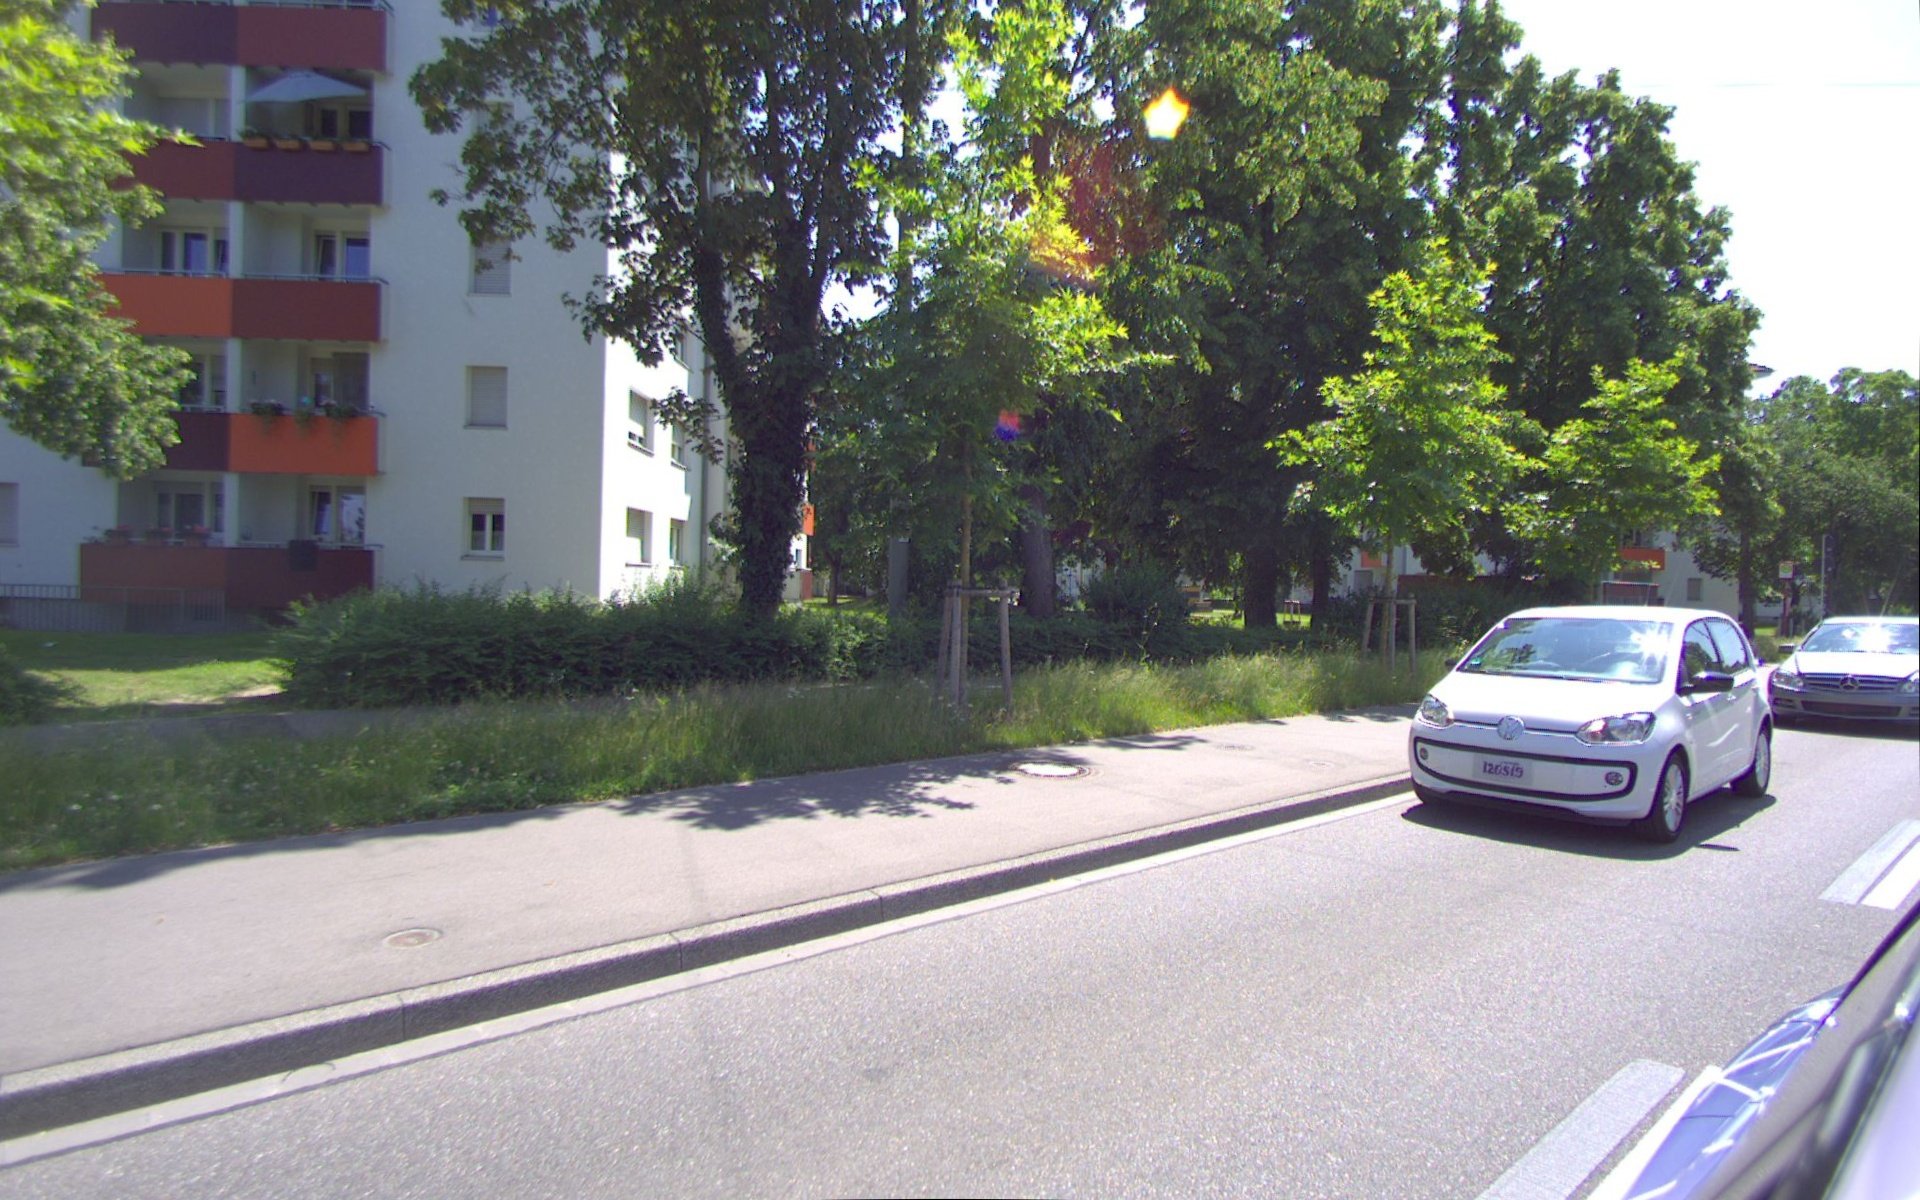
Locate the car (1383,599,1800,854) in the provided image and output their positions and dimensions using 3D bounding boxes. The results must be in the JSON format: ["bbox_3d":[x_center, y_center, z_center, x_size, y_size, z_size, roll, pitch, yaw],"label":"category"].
[{"bbox_3d":[4.955,0.744,7.742,3.786,1.468,1.662,0,0,-41],"label":"car"}]

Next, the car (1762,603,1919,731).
[{"bbox_3d":[12.203,0.801,13.287,3.900,1.478,1.902,1,-1,-40],"label":"car"}]
